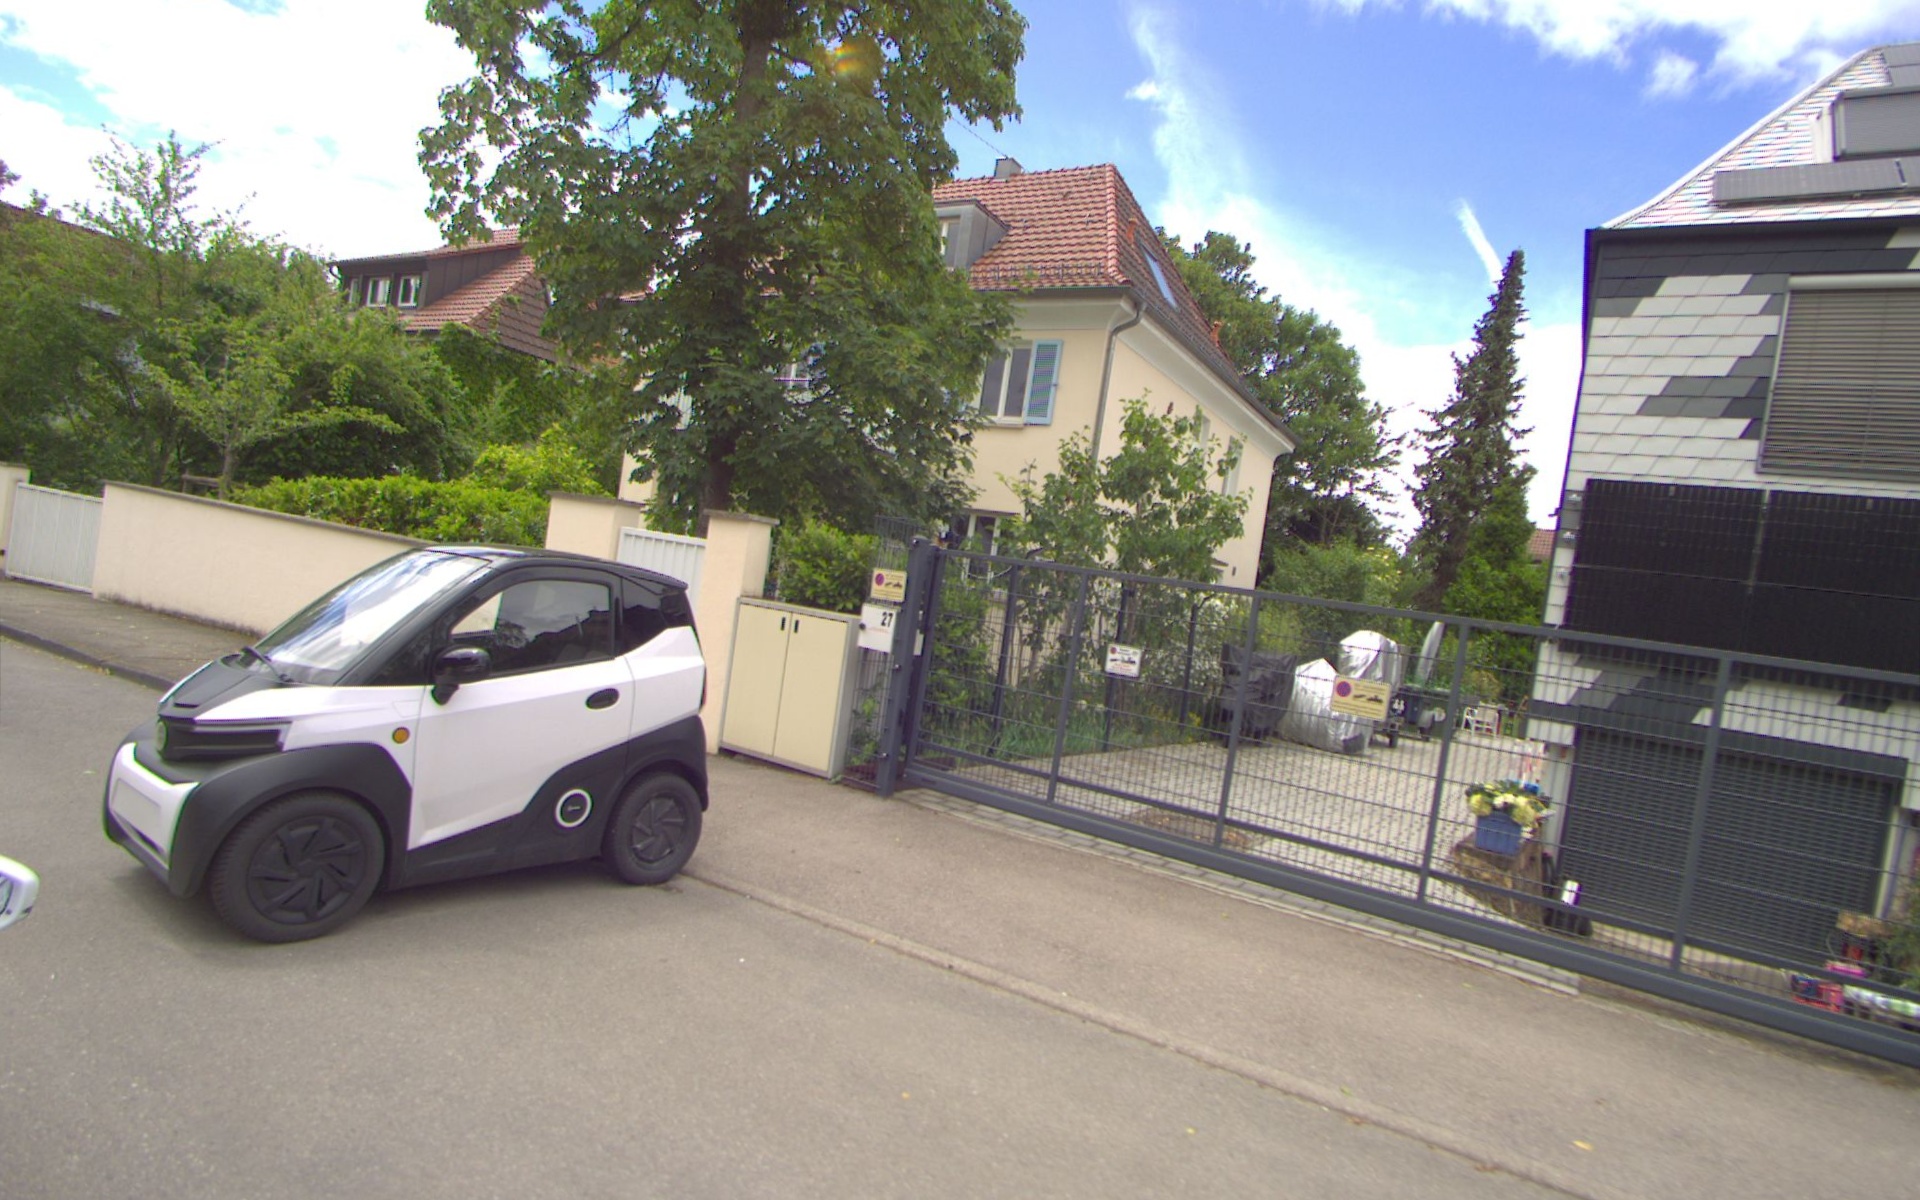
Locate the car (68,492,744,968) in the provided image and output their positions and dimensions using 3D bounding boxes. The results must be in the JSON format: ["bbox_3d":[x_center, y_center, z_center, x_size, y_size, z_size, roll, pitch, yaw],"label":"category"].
[{"bbox_3d":[-2.389,0.488,4.648,1.298,1.542,2.287,8,0,37],"label":"car"}]
